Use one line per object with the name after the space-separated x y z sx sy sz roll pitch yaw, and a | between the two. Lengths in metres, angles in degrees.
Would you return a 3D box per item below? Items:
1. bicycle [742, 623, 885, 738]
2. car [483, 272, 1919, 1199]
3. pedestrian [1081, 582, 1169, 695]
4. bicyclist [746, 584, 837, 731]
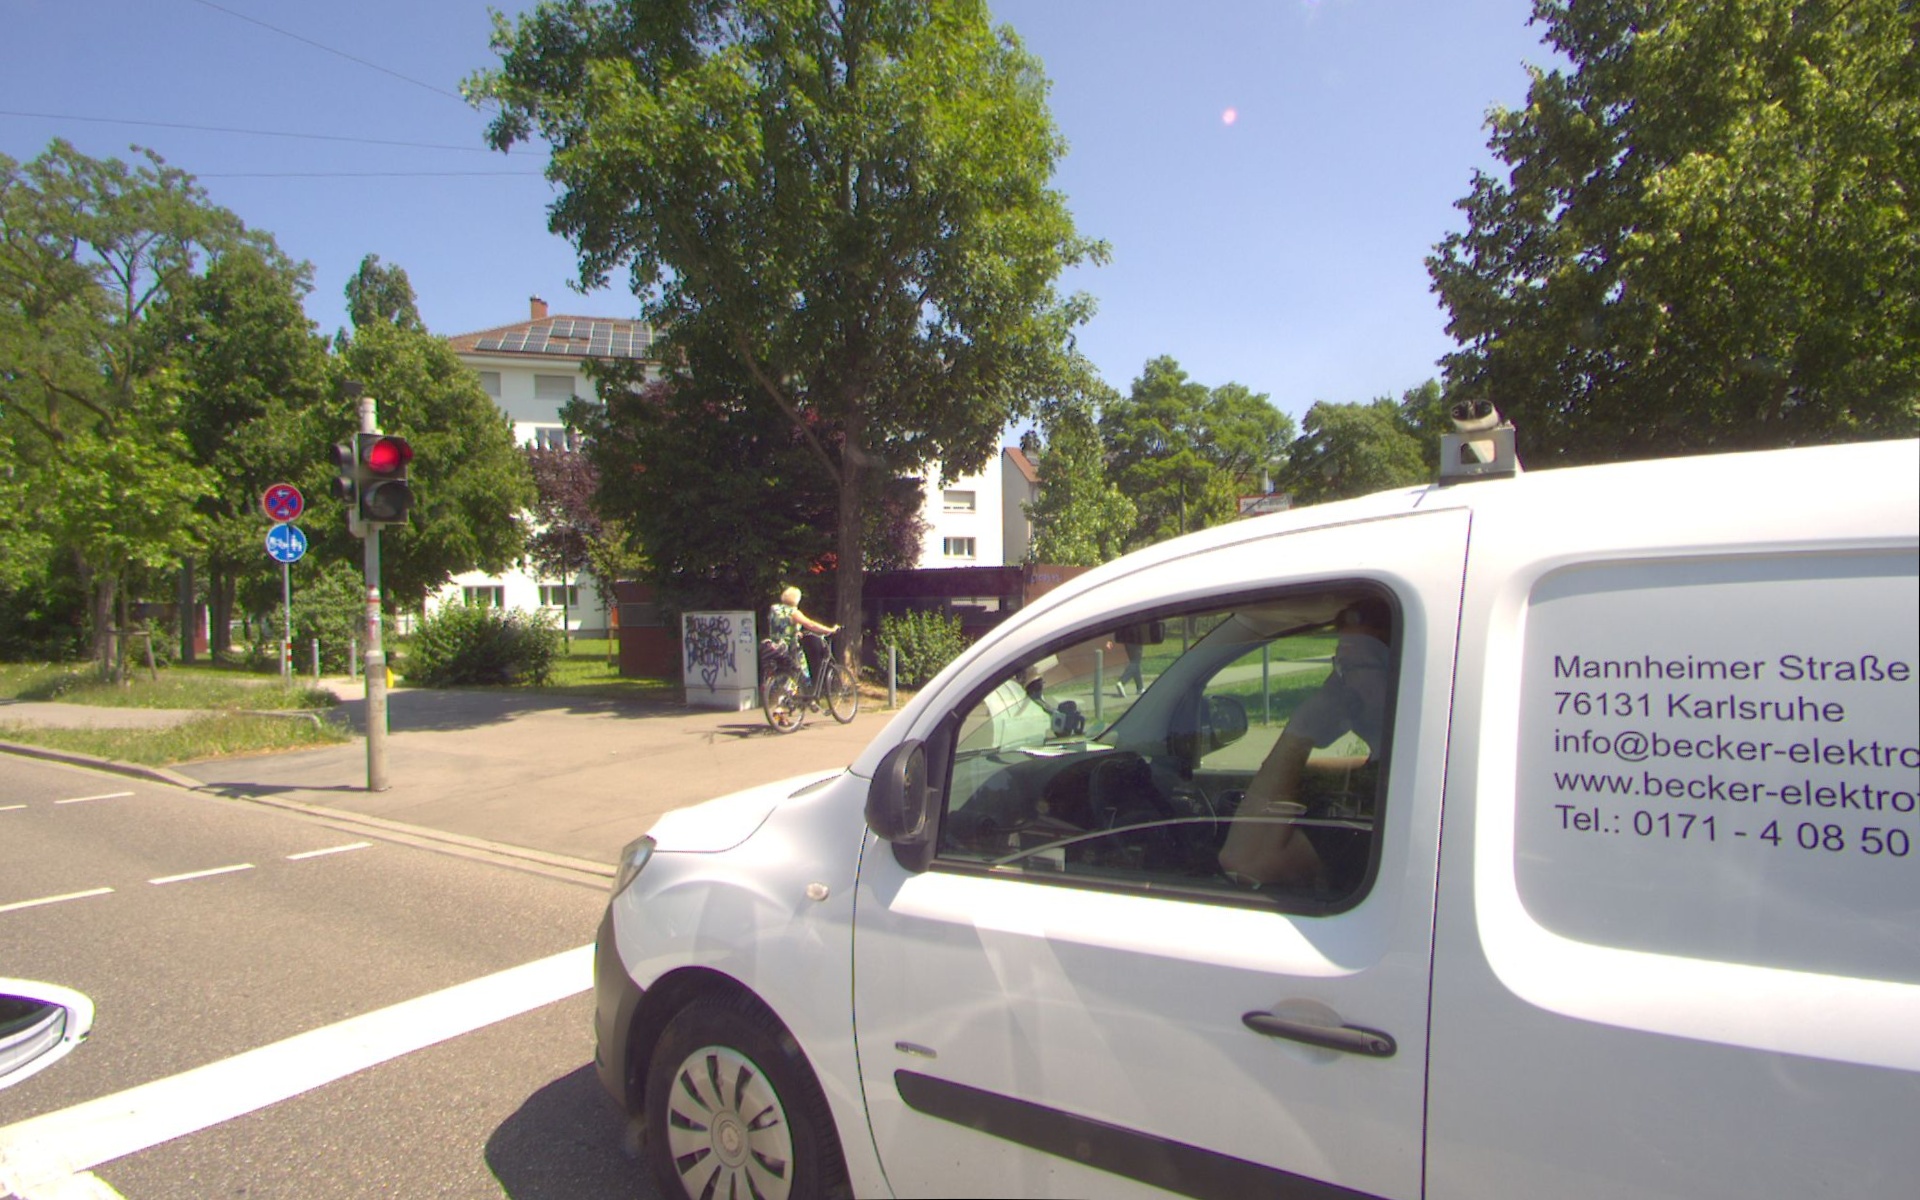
-1.691 0.899 11.877 0.533 1.177 1.953 0 1 32 | bicycle
1.120 0.568 2.305 4.384 1.850 1.990 -1 0 32 | car
2.772 0.628 16.805 1.175 1.801 0.833 -3 1 -40 | pedestrian
-2.022 0.657 12.071 0.572 1.689 0.955 0 2 32 | bicyclist
